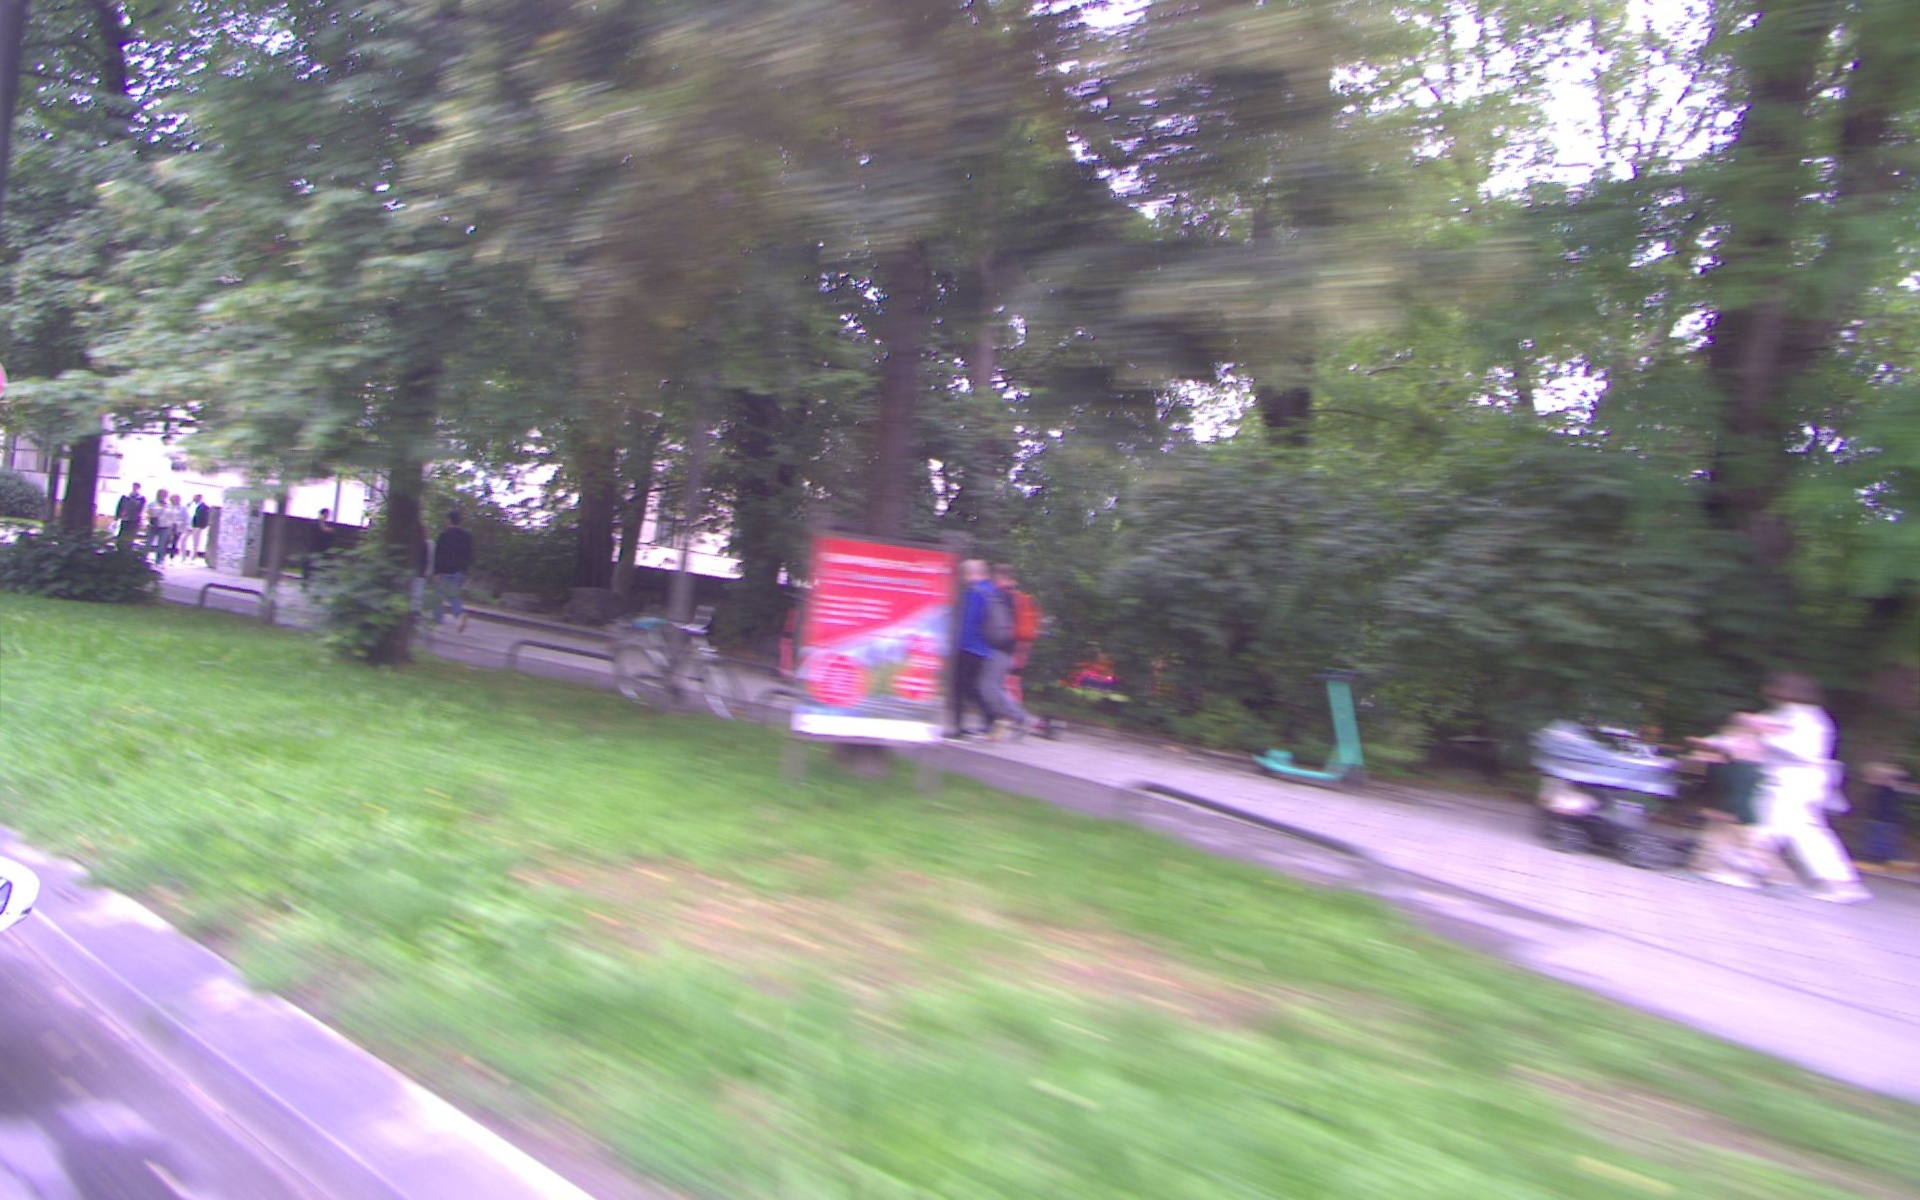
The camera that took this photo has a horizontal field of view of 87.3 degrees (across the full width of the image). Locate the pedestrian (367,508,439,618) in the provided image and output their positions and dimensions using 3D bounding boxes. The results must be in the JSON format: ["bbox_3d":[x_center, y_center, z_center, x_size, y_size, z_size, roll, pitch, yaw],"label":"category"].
[{"bbox_3d":[-9.729,-0.648,17.571,0.769,1.794,0.631,7,-1,35],"label":"pedestrian"}]

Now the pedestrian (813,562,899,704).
[{"bbox_3d":[-1.295,0.424,12.628,0.651,1.656,0.683,7,-1,20],"label":"pedestrian"}]

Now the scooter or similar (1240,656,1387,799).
[{"bbox_3d":[3.517,1.248,10.043,1.199,1.212,0.419,7,-1,32],"label":"scooter or similar"}]

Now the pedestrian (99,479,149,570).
[{"bbox_3d":[-19.546,-1.760,23.526,0.712,2.040,0.594,7,2,32],"label":"pedestrian"}]

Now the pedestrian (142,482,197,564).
[{"bbox_3d":[-18.798,-1.817,23.927,0.710,1.832,0.596,6,2,7],"label":"pedestrian"}]

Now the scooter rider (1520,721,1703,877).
[{"bbox_3d":[5.272,1.572,8.208,1.096,0.996,0.857,7,-1,32],"label":"scooter rider"}]

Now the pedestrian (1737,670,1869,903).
[{"bbox_3d":[6.234,1.353,7.442,0.483,1.584,0.565,8,-1,-43],"label":"pedestrian"}]

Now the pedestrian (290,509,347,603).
[{"bbox_3d":[-12.236,-0.838,19.195,0.544,1.695,0.581,7,-1,35],"label":"pedestrian"}]

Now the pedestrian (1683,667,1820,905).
[{"bbox_3d":[5.621,1.292,7.180,0.552,1.532,0.682,7,-1,32],"label":"pedestrian"}]

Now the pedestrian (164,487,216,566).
[{"bbox_3d":[-19.112,-1.812,24.982,0.710,1.832,0.596,6,2,7],"label":"pedestrian"}]

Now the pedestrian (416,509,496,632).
[{"bbox_3d":[-7.857,-0.461,15.680,0.784,1.784,0.608,7,-1,35],"label":"pedestrian"}]

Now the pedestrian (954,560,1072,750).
[{"bbox_3d":[0.556,0.568,10.510,0.836,1.843,0.589,7,-1,32],"label":"pedestrian"}]

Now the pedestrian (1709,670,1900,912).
[{"bbox_3d":[6.282,1.387,7.541,0.858,1.584,0.682,7,-1,32],"label":"pedestrian"}]

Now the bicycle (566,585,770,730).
[{"bbox_3d":[-2.672,0.489,9.082,2.044,1.033,0.385,7,-1,32],"label":"bicycle"}]

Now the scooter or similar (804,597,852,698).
[{"bbox_3d":[-1.741,0.603,13.168,0.301,1.238,0.923,7,0,-19],"label":"scooter or similar"}]

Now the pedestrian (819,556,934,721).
[{"bbox_3d":[-0.957,0.440,11.544,0.753,1.757,0.839,8,-1,-43],"label":"pedestrian"}]

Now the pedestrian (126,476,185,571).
[{"bbox_3d":[-18.280,-1.727,22.850,0.764,2.041,0.763,7,3,32],"label":"pedestrian"}]

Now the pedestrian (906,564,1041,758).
[{"bbox_3d":[0.131,0.595,9.862,0.753,1.757,0.839,8,-1,-43],"label":"pedestrian"}]

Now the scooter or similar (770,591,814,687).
[{"bbox_3d":[-2.304,0.519,13.772,0.301,1.238,0.923,7,0,-19],"label":"scooter or similar"}]

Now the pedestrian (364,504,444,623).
[{"bbox_3d":[-8.477,-0.554,15.339,0.742,1.700,0.608,7,-1,35],"label":"pedestrian"}]
